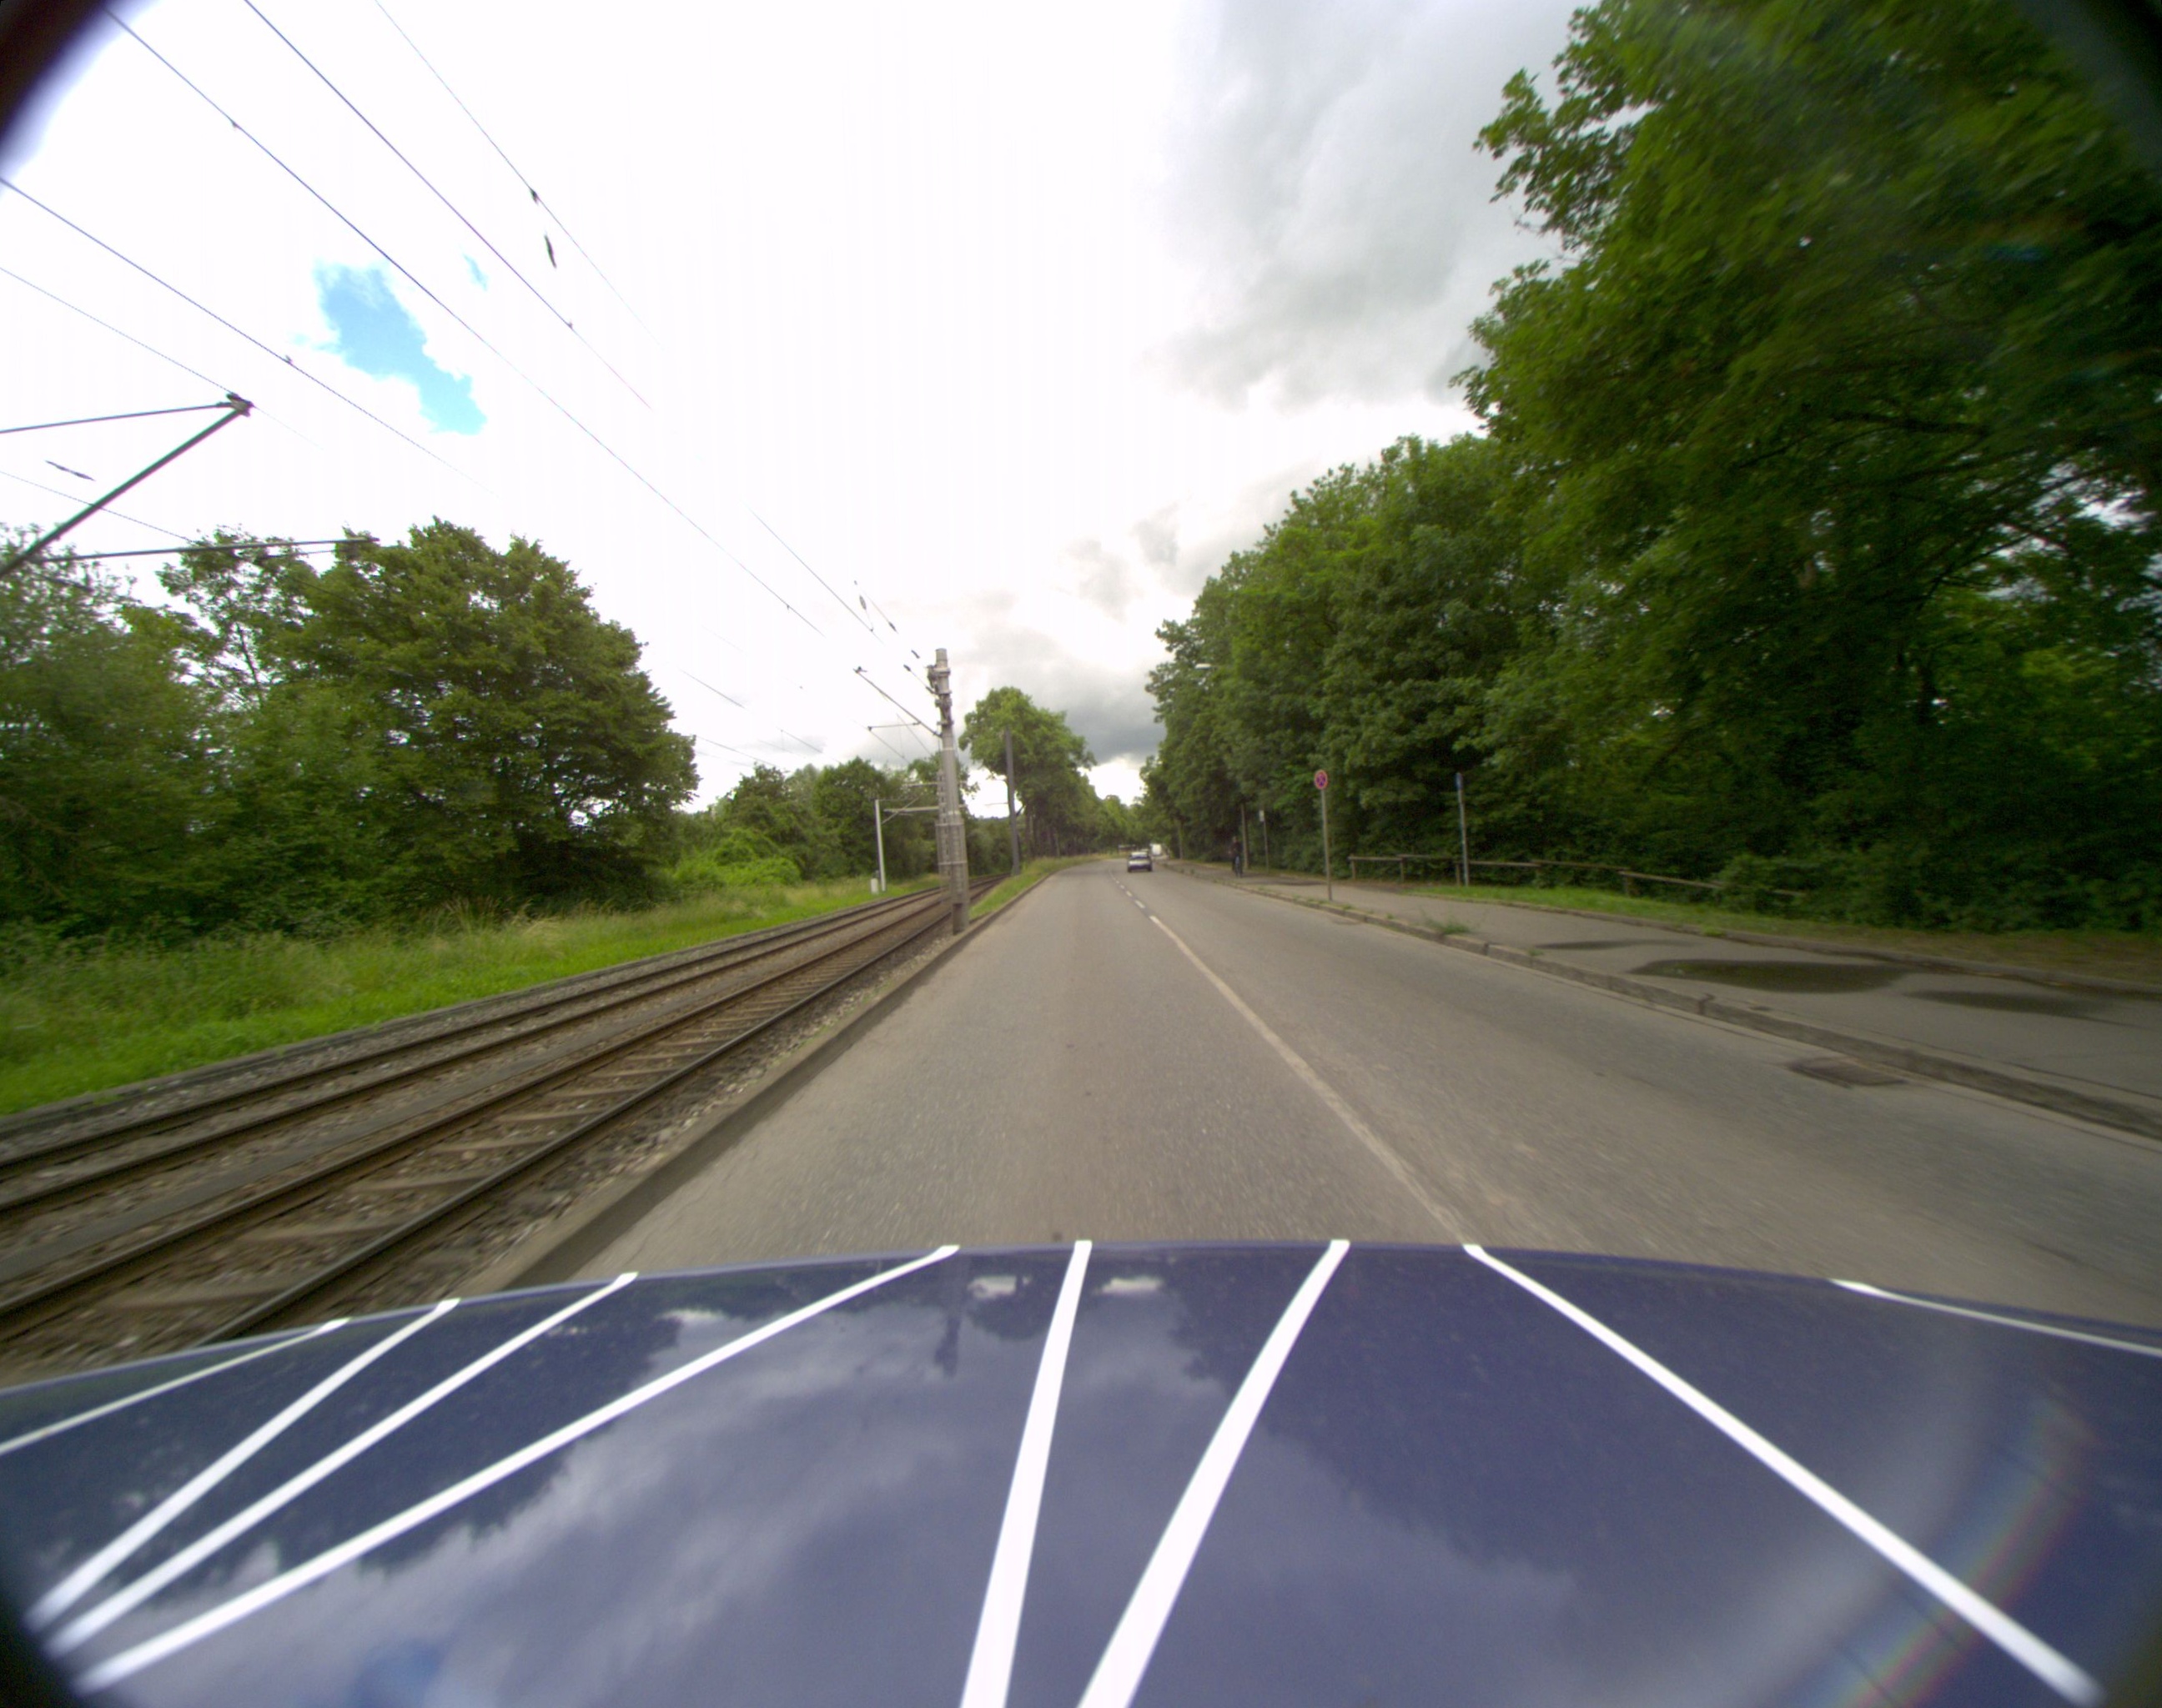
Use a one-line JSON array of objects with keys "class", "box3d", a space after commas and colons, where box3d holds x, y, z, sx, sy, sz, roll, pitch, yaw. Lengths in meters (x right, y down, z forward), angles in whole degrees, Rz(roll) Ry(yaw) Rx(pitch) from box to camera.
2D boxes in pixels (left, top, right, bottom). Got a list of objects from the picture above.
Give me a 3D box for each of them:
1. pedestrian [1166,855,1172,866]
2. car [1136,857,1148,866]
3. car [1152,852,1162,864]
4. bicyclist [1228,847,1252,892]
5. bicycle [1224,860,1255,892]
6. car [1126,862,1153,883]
[{"class": "pedestrian", "box3d": [13.674, 0.977, 118.043, 0.600, 1.704, 0.815, -5, 0, 3]}, {"class": "car", "box3d": [11.722, 1.450, 145.952, 1.861, 1.788, 4.557, -3, -1, 1]}, {"class": "car", "box3d": [17.866, 0.896, 178.204, 1.998, 2.611, 5.897, -2, -1, 4]}, {"class": "bicyclist", "box3d": [7.046, 0.675, 33.675, 0.688, 1.936, 0.835, -5, 0, -2]}, {"class": "bicycle", "box3d": [7.062, 0.945, 33.884, 0.700, 1.324, 2.280, -5, 0, -3]}, {"class": "car", "box3d": [4.440, 1.364, 58.221, 1.798, 1.483, 4.180, -2, -1, 1]}]
